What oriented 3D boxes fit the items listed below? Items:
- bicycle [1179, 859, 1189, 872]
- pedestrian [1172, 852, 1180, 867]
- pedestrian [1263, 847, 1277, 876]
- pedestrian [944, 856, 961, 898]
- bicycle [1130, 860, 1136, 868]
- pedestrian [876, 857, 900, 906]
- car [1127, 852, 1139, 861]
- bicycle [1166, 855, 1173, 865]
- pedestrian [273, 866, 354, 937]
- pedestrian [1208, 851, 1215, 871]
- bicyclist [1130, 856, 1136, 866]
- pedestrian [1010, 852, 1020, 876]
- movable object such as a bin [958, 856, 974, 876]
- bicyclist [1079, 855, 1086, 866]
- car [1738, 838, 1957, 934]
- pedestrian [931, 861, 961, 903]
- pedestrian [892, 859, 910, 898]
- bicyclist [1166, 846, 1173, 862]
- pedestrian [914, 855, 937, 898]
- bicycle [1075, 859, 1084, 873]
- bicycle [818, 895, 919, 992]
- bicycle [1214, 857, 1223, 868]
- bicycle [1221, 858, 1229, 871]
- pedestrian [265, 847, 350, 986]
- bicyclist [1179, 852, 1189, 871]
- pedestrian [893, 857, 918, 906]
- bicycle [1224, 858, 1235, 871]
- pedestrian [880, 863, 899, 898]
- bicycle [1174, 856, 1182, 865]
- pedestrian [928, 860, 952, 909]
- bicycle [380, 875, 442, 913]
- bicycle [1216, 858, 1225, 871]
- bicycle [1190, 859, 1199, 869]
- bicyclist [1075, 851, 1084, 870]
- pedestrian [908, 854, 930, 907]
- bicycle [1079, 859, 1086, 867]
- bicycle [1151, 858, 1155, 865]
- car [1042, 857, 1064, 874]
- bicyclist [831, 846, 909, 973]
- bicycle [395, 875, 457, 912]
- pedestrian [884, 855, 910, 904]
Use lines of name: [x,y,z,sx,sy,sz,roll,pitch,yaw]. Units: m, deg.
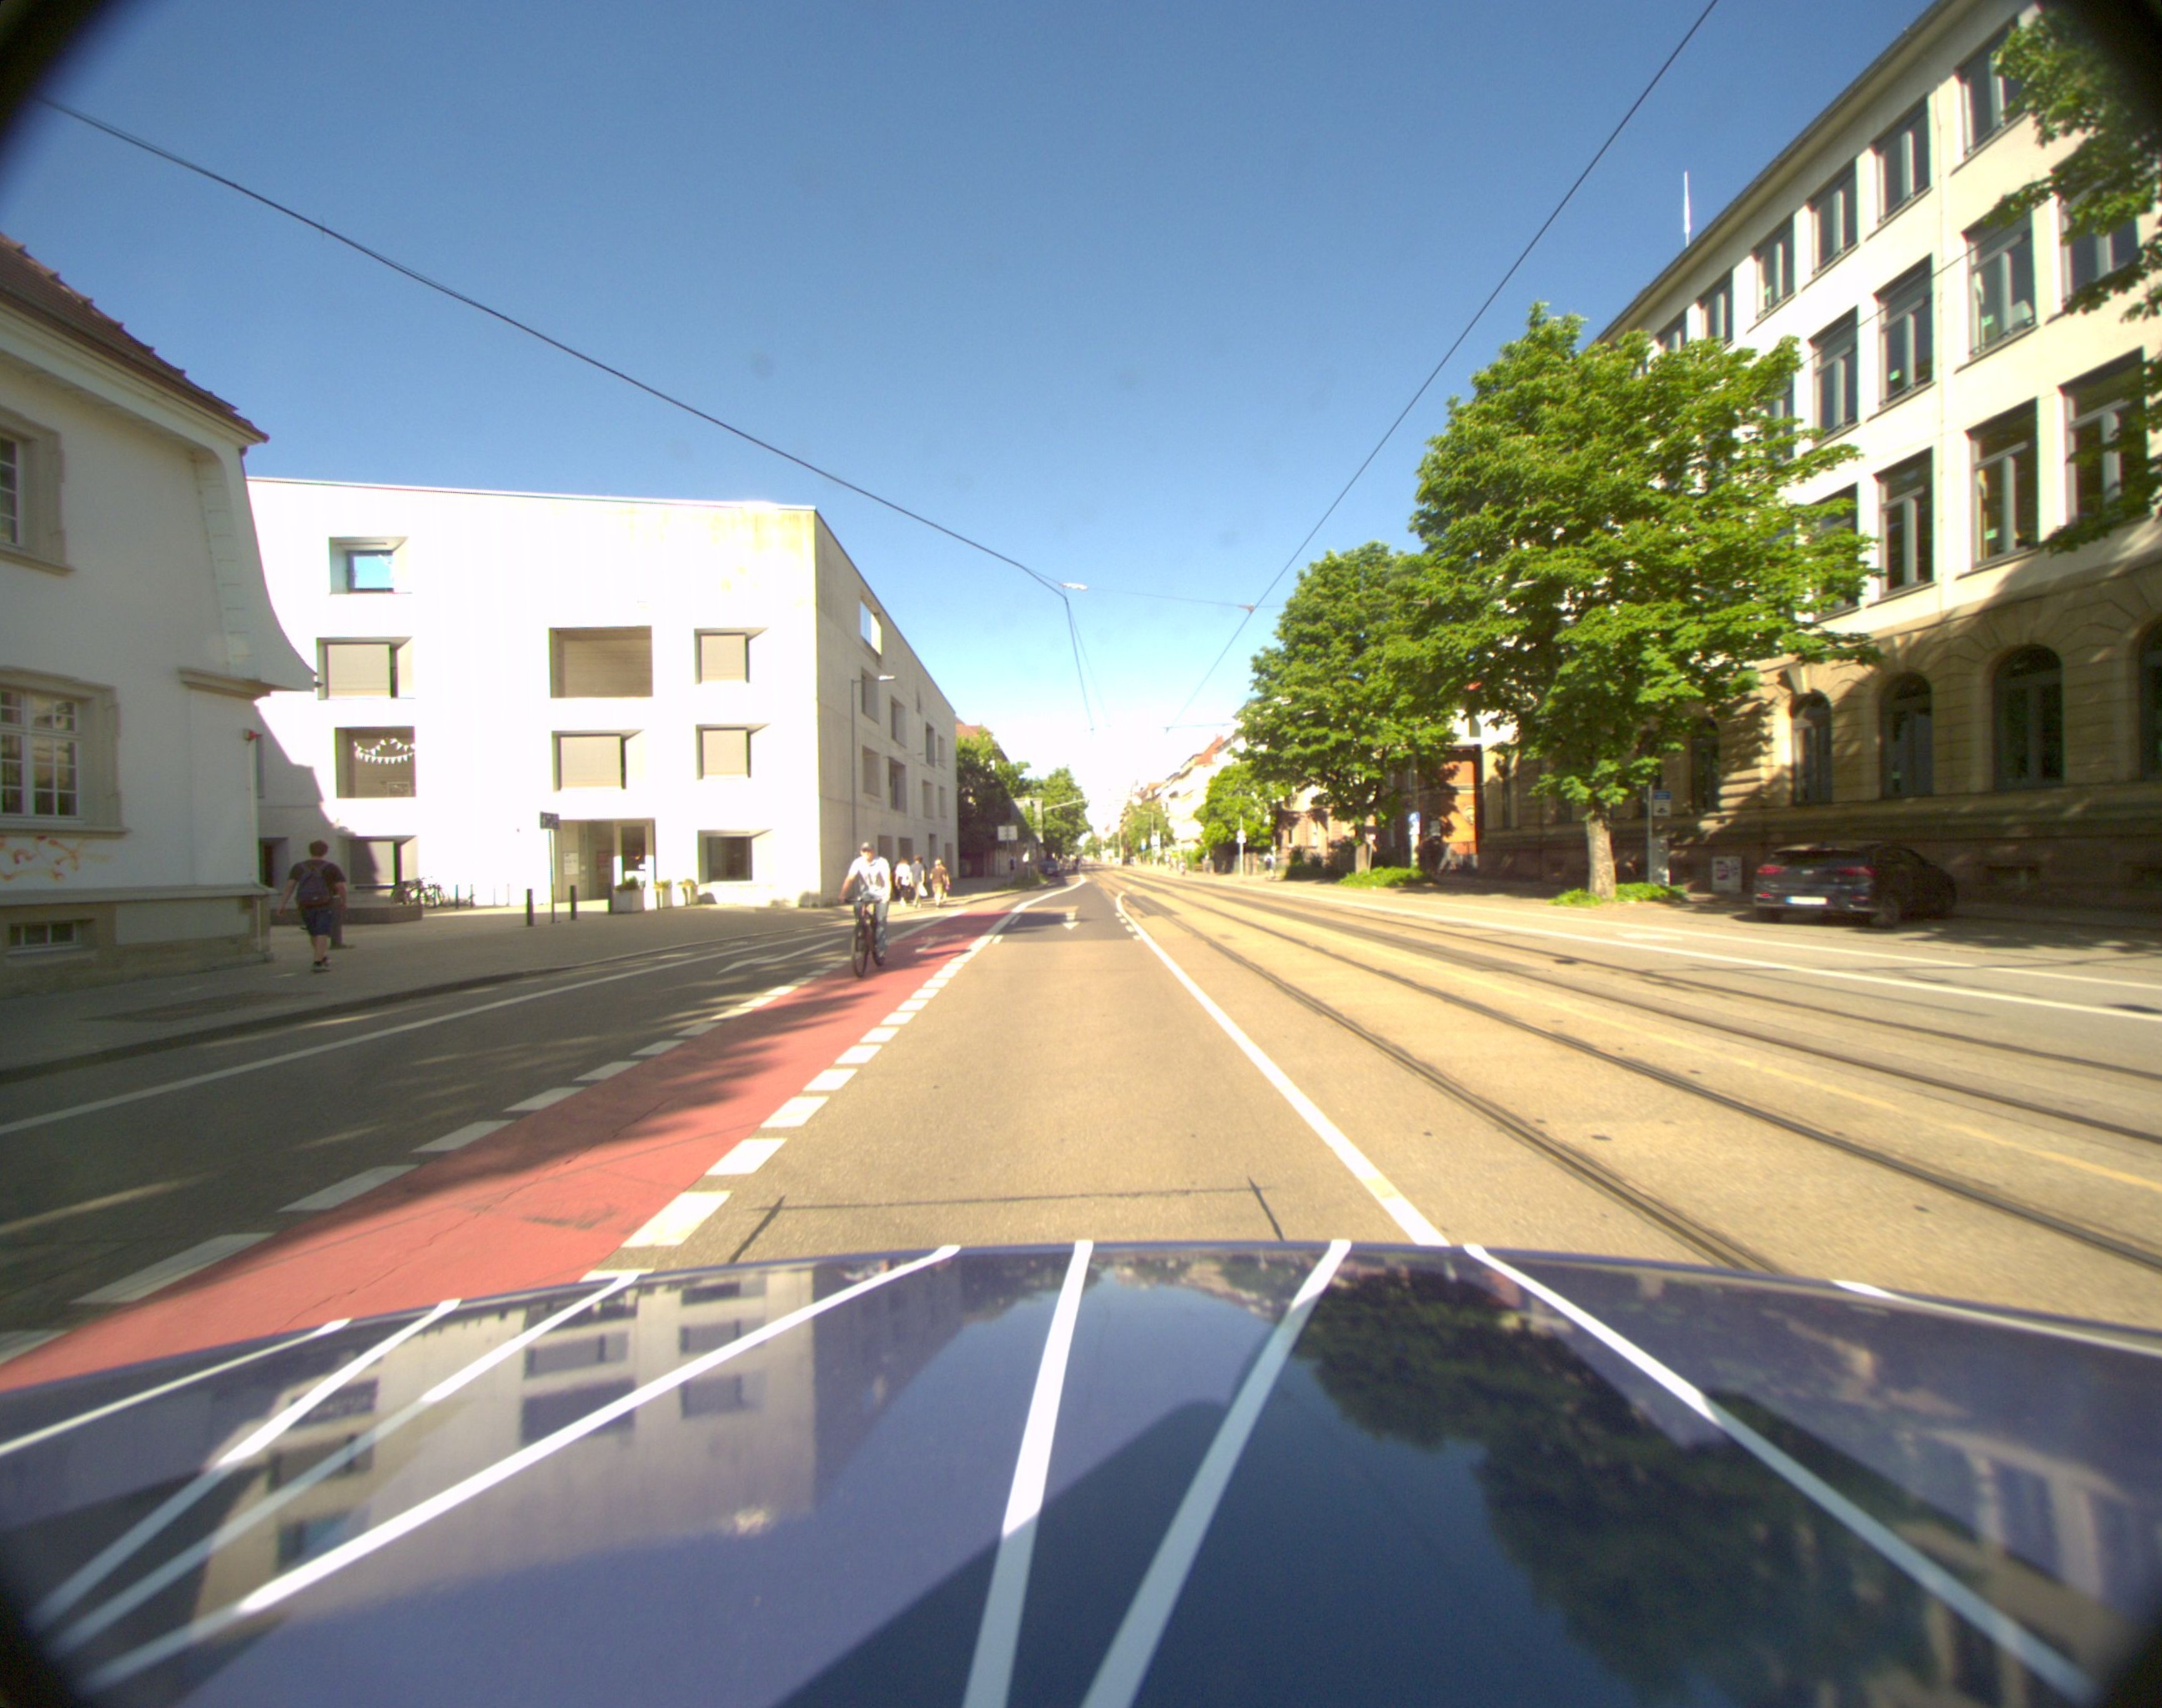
bicycle: [9.112,1.025,67.330,0.688,1.118,1.932,1,0,4]
pedestrian: [11.011,0.694,88.394,0.756,1.704,0.808,-3,0,0]
pedestrian: [12.115,0.474,48.775,0.730,1.786,0.781,-4,1,15]
pedestrian: [-5.457,0.974,32.317,0.496,1.718,0.816,3,1,-1]
bicycle: [7.938,1.546,116.309,0.747,1.075,1.899,2,0,1]
pedestrian: [-7.132,1.014,28.044,0.611,1.764,0.653,3,1,1]
car: [9.996,0.492,147.004,1.869,1.567,4.588,1,0,-1]
bicycle: [10.576,0.724,90.638,0.705,1.049,1.837,-1,1,13]
pedestrian: [-18.450,1.118,18.291,0.993,1.631,0.859,-1,2,-5]
pedestrian: [12.019,0.599,69.977,0.576,1.821,0.690,-1,1,19]
bicyclist: [7.958,1.058,116.306,0.747,1.590,1.118,2,1,1]
pedestrian: [-4.991,0.762,57.375,0.685,1.839,0.955,0,0,-2]
movable object such as a bin: [-8.727,0.925,57.490,0.935,1.455,1.355,-1,0,1]
bicyclist: [0.231,0.901,103.589,0.776,1.505,1.229,-2,0,-3]
car: [14.789,0.531,14.640,4.005,1.541,1.873,-2,1,-28]
pedestrian: [-5.408,1.104,30.508,0.830,1.595,0.894,4,1,10]
pedestrian: [-7.377,0.987,31.169,0.519,1.591,0.764,-1,1,2]
bicyclist: [10.563,-0.027,90.620,0.705,1.843,0.986,-1,2,13]
pedestrian: [-6.600,0.938,32.279,0.649,1.753,0.956,3,1,2]
bicycle: [-0.122,1.083,70.935,0.763,1.235,2.096,-2,0,-1]
bicycle: [-2.936,1.197,10.743,0.740,1.088,2.111,-2,0,1]
bicycle: [12.642,0.773,69.856,0.637,1.039,2.024,-1,0,16]
bicycle: [12.516,0.930,66.150,0.591,1.039,1.906,-2,0,8]
pedestrian: [-11.182,0.853,11.017,0.641,1.892,1.131,1,0,-34]
bicyclist: [9.124,0.660,67.345,0.688,1.635,1.238,1,1,4]
pedestrian: [-6.466,0.999,28.040,0.529,1.764,0.736,4,1,13]
bicycle: [12.487,0.891,63.837,0.591,1.039,1.905,-3,0,3]
pedestrian: [-7.920,1.087,31.412,0.519,1.396,0.764,-1,1,2]
bicycle: [12.101,0.831,94.608,0.663,1.083,1.840,-4,1,0]
pedestrian: [-5.169,1.109,27.947,0.607,1.736,0.718,3,1,7]
bicycle: [-21.440,1.263,24.351,0.498,1.089,1.592,-1,1,3]
bicycle: [12.587,0.933,68.442,0.647,1.137,1.906,-3,0,8]
bicycle: [12.114,1.035,80.866,0.640,1.053,1.743,-3,0,1]
bicyclist: [-0.138,0.613,70.945,0.763,1.728,1.046,-2,0,-1]
pedestrian: [-5.885,0.967,27.626,0.519,1.891,0.612,3,1,7]
bicycle: [0.237,1.273,103.587,0.776,1.080,2.058,-2,0,-3]
bicycle: [11.834,1.244,124.867,0.515,1.032,2.223,-1,0,0]
car: [-2.585,1.016,69.389,1.827,1.450,4.816,1,0,-4]
bicyclist: [-2.954,0.750,10.720,0.740,1.676,0.972,-2,0,1]
bicycle: [-20.936,1.250,24.317,0.498,1.089,1.587,-1,1,3]
pedestrian: [-6.993,0.960,28.934,0.658,1.792,0.732,3,1,7]
